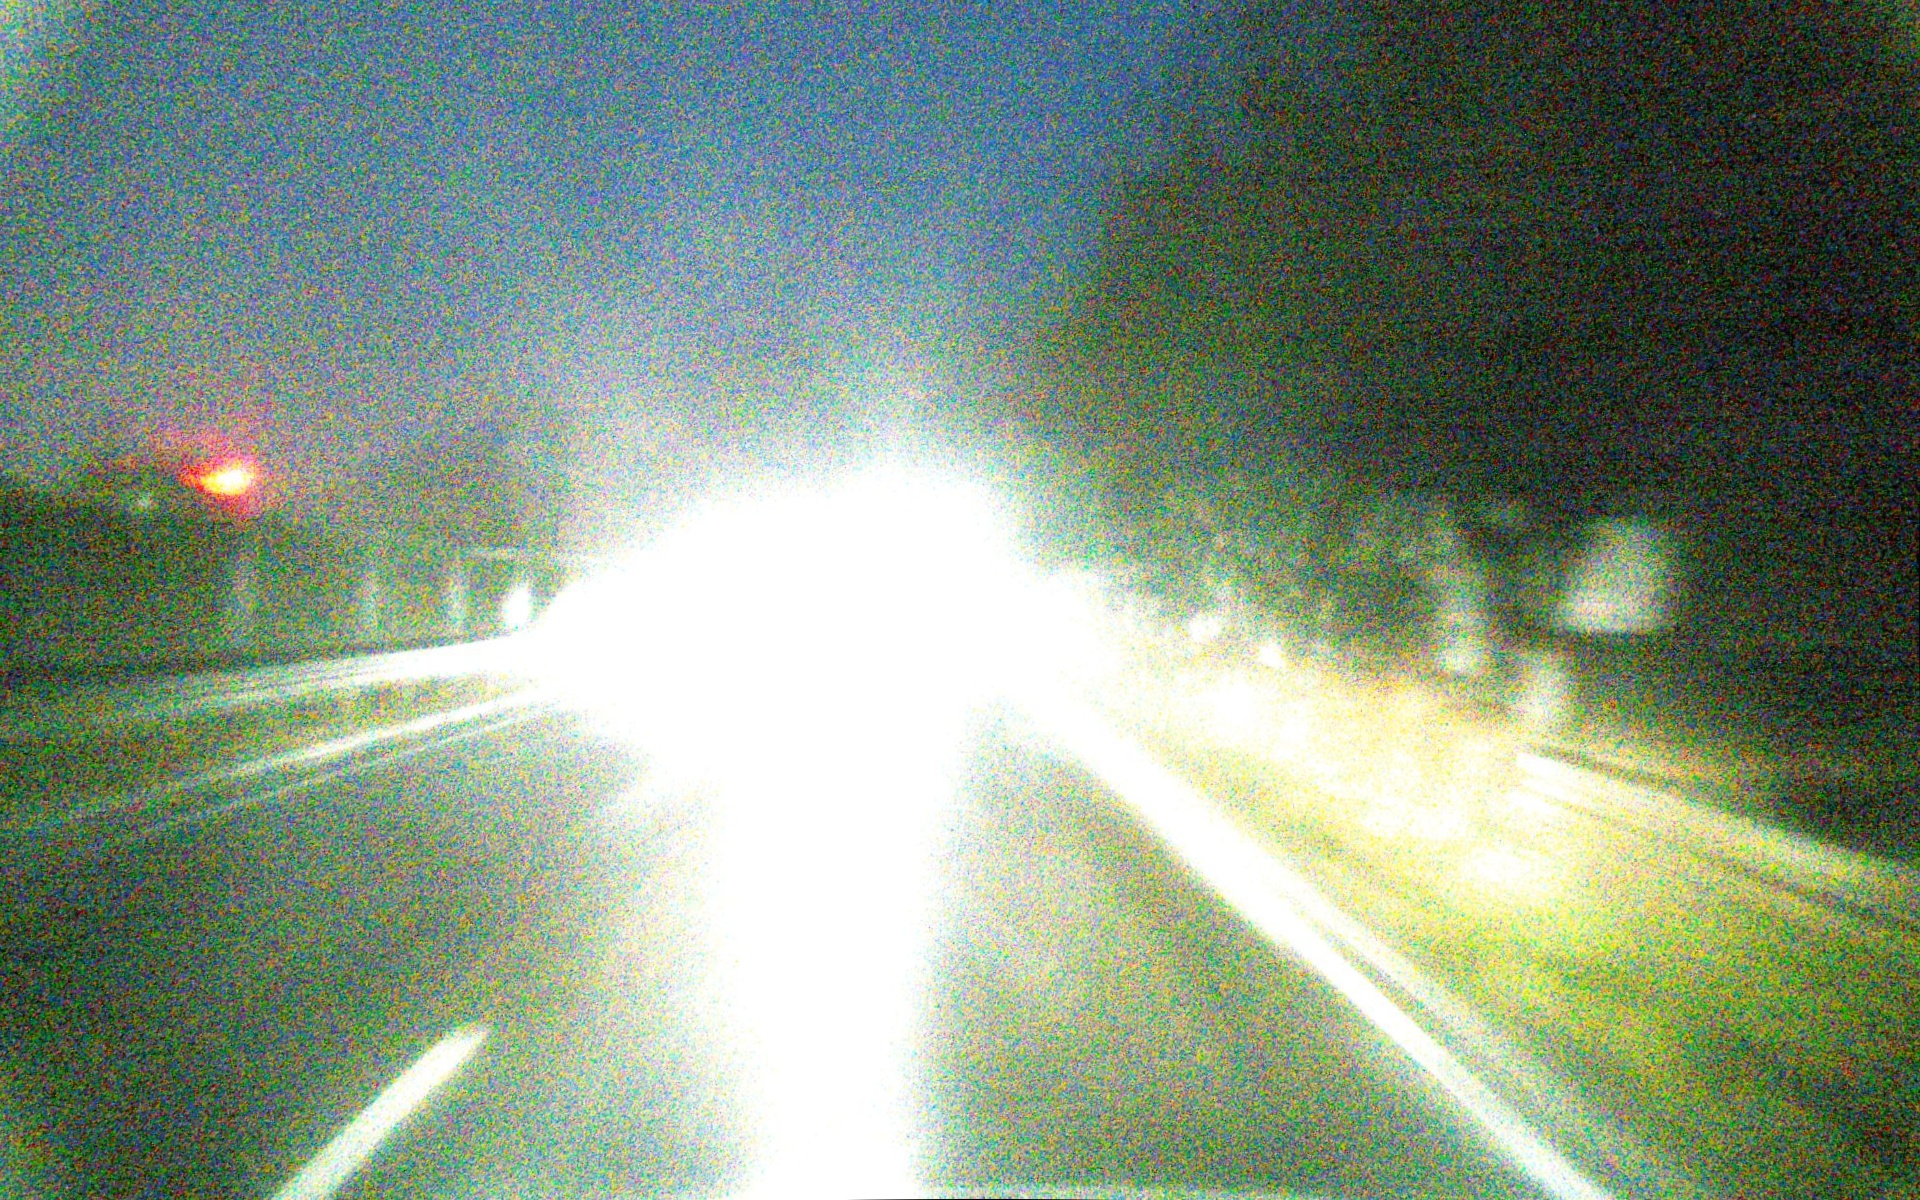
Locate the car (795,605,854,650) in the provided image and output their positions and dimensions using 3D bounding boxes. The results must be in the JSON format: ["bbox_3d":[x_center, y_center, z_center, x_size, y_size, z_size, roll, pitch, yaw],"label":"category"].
[{"bbox_3d":[-4.995,1.007,61.567,1.953,1.526,3.999,1,1,-2],"label":"car"}]
